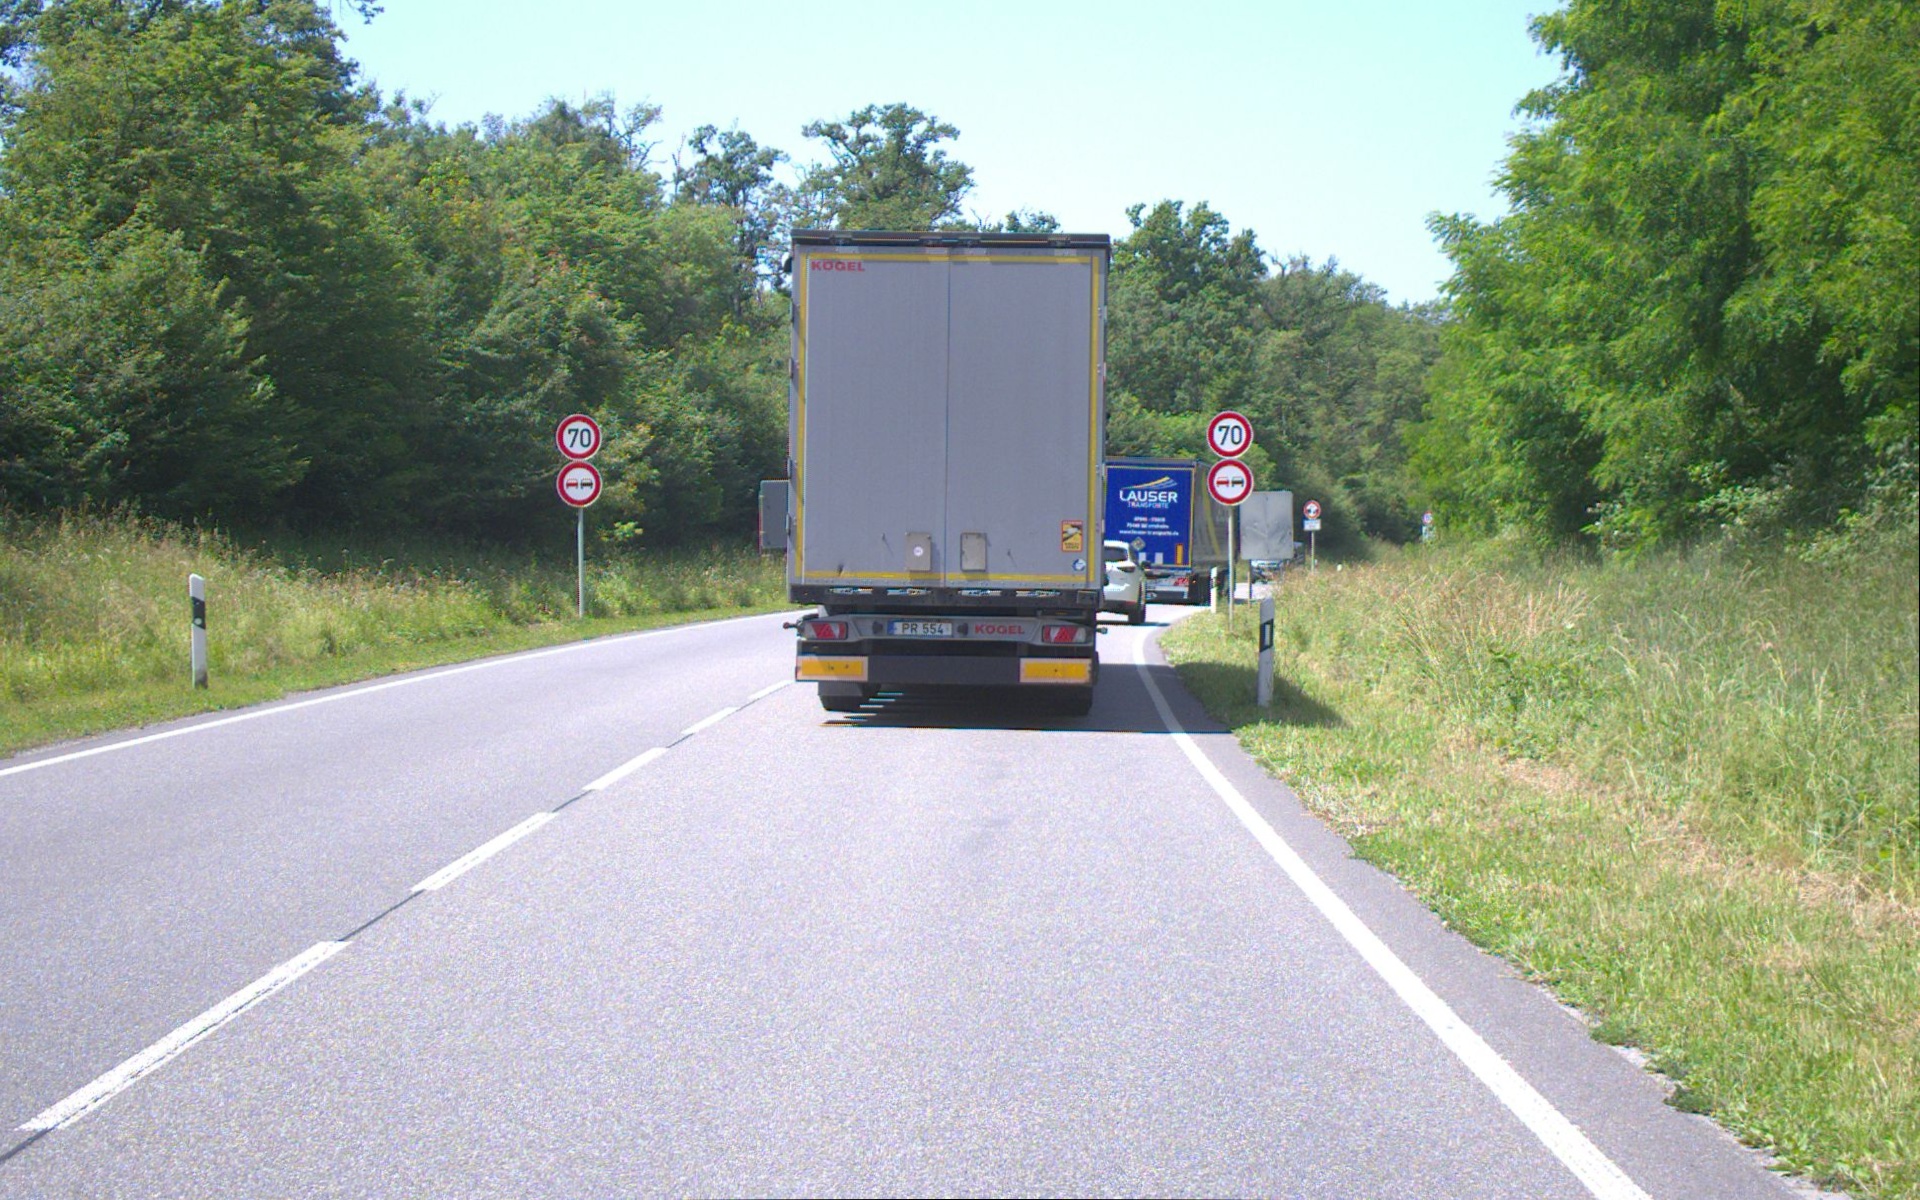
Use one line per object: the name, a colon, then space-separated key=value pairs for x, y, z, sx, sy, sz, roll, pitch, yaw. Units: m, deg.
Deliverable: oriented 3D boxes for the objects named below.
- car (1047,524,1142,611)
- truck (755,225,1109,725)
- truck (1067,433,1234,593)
car: x=2.751 y=-0.679 z=69.485 sx=1.770 sy=1.703 sz=4.000 roll=0 pitch=1 yaw=4
truck: x=-0.050 y=-1.136 z=33.471 sx=2.761 sy=3.933 sz=12.197 roll=1 pitch=1 yaw=2
truck: x=5.806 y=-2.538 z=101.622 sx=3.794 sy=4.358 sz=14.916 roll=0 pitch=1 yaw=8
